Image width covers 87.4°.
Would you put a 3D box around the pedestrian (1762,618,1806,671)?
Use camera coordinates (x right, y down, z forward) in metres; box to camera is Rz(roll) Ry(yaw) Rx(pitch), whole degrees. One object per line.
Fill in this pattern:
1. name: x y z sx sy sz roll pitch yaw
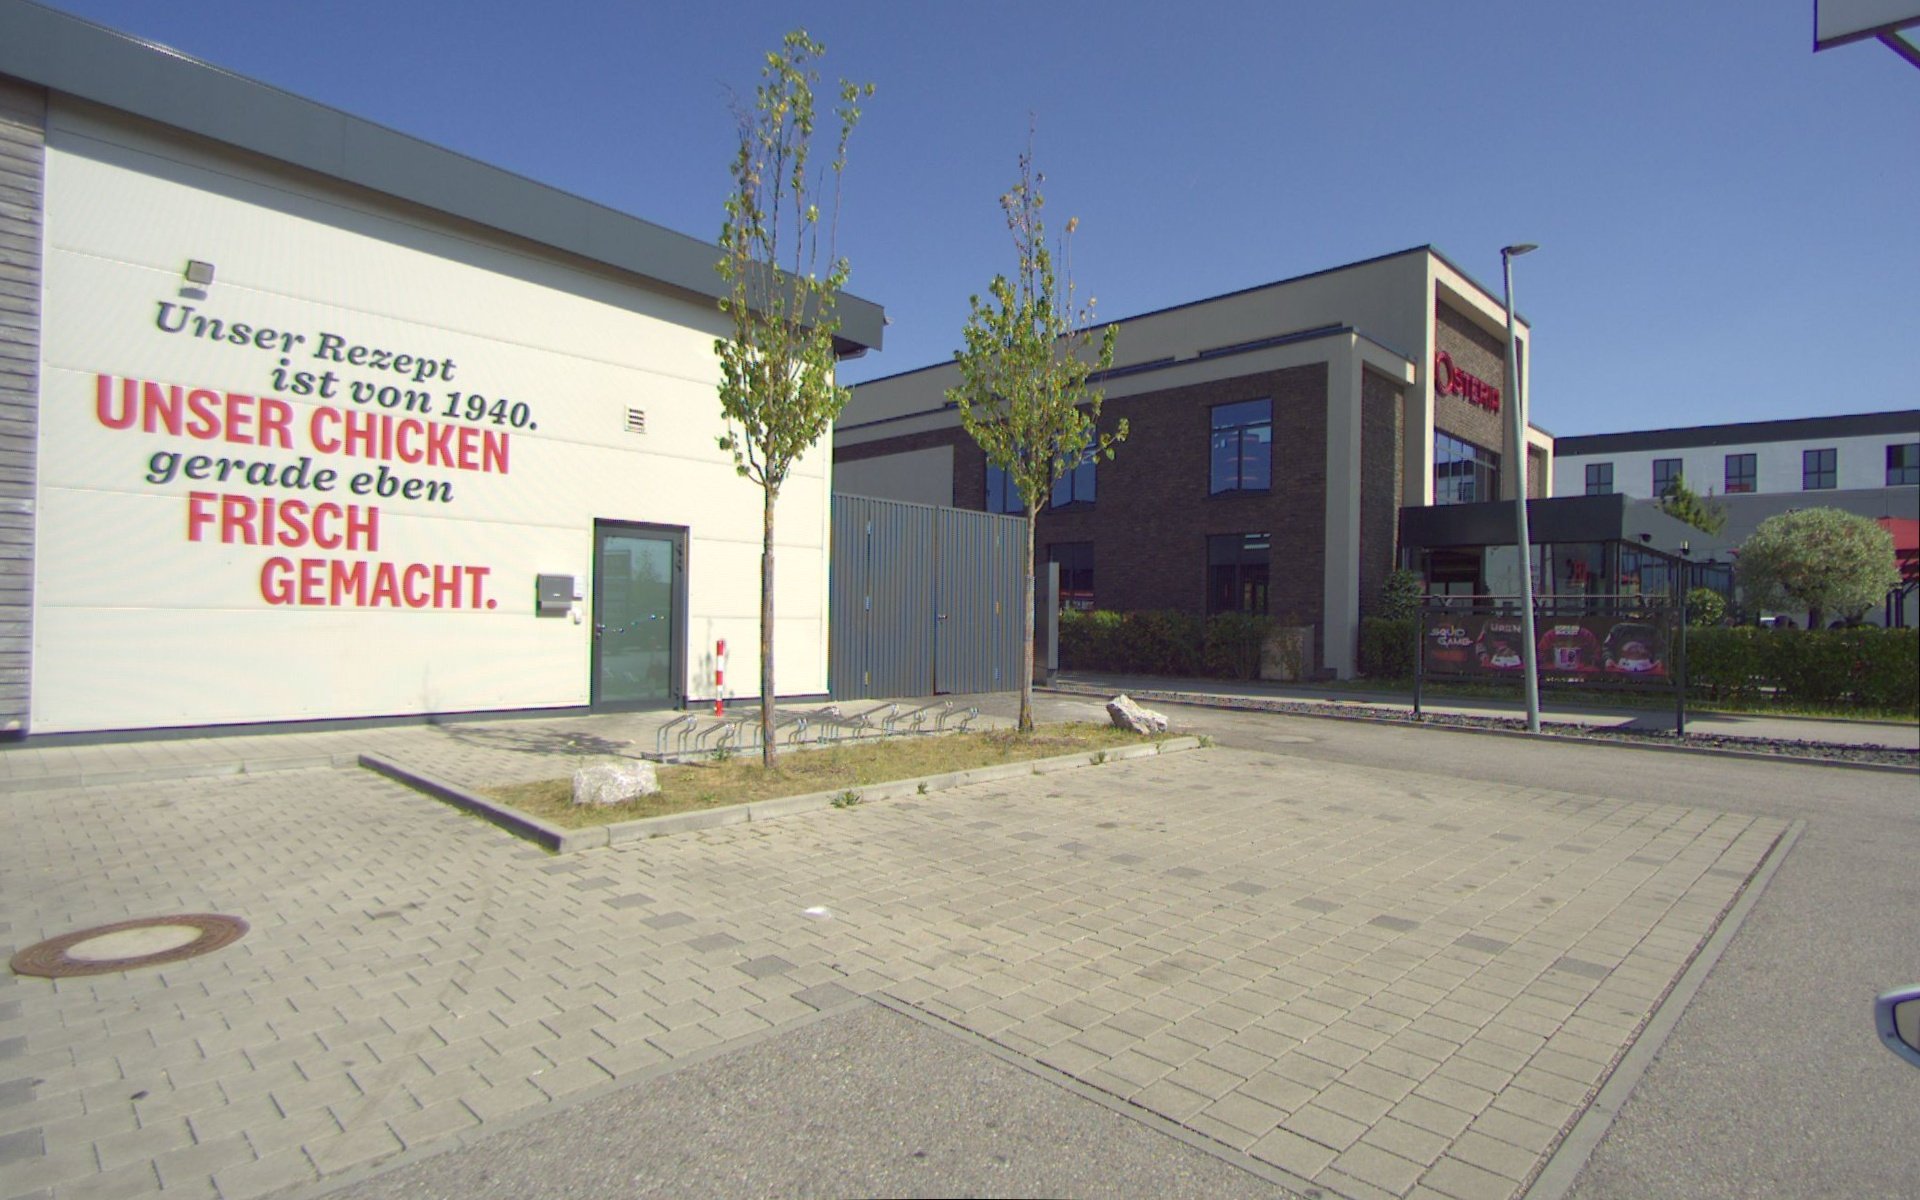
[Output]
1. pedestrian: 19.660 1.053 23.970 0.611 1.214 0.702 0 0 -37

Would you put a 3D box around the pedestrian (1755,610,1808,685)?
1. pedestrian: 15.379 0.880 18.812 0.637 1.385 0.482 0 0 20

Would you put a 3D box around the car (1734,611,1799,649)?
1. car: 33.388 1.207 41.673 1.707 1.507 3.940 0 0 33

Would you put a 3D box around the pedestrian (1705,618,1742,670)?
1. pedestrian: 18.291 1.035 24.077 0.699 1.214 0.665 0 0 37

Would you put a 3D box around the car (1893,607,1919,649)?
1. car: 37.873 1.061 38.811 1.920 1.607 4.365 0 0 33

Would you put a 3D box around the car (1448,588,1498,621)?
1. car: 25.694 0.218 50.250 1.619 1.588 3.668 0 0 38

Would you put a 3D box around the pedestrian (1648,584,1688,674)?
1. pedestrian: 12.258 0.496 17.387 0.518 1.525 0.566 0 0 42

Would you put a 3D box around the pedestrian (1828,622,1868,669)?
1. pedestrian: 21.338 1.074 24.139 0.538 1.104 0.574 0 0 -29

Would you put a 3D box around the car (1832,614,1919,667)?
1. car: 25.035 1.057 27.292 3.814 1.326 1.627 1 -1 -43

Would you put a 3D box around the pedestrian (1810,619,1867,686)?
1. pedestrian: 15.965 0.945 18.267 0.637 1.201 0.482 0 0 20

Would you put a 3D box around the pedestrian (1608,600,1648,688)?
1. pedestrian: 11.907 0.770 17.911 0.518 1.525 0.566 0 0 42

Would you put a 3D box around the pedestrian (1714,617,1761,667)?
1. pedestrian: 19.156 1.030 24.752 0.606 1.214 0.708 0 0 -15
